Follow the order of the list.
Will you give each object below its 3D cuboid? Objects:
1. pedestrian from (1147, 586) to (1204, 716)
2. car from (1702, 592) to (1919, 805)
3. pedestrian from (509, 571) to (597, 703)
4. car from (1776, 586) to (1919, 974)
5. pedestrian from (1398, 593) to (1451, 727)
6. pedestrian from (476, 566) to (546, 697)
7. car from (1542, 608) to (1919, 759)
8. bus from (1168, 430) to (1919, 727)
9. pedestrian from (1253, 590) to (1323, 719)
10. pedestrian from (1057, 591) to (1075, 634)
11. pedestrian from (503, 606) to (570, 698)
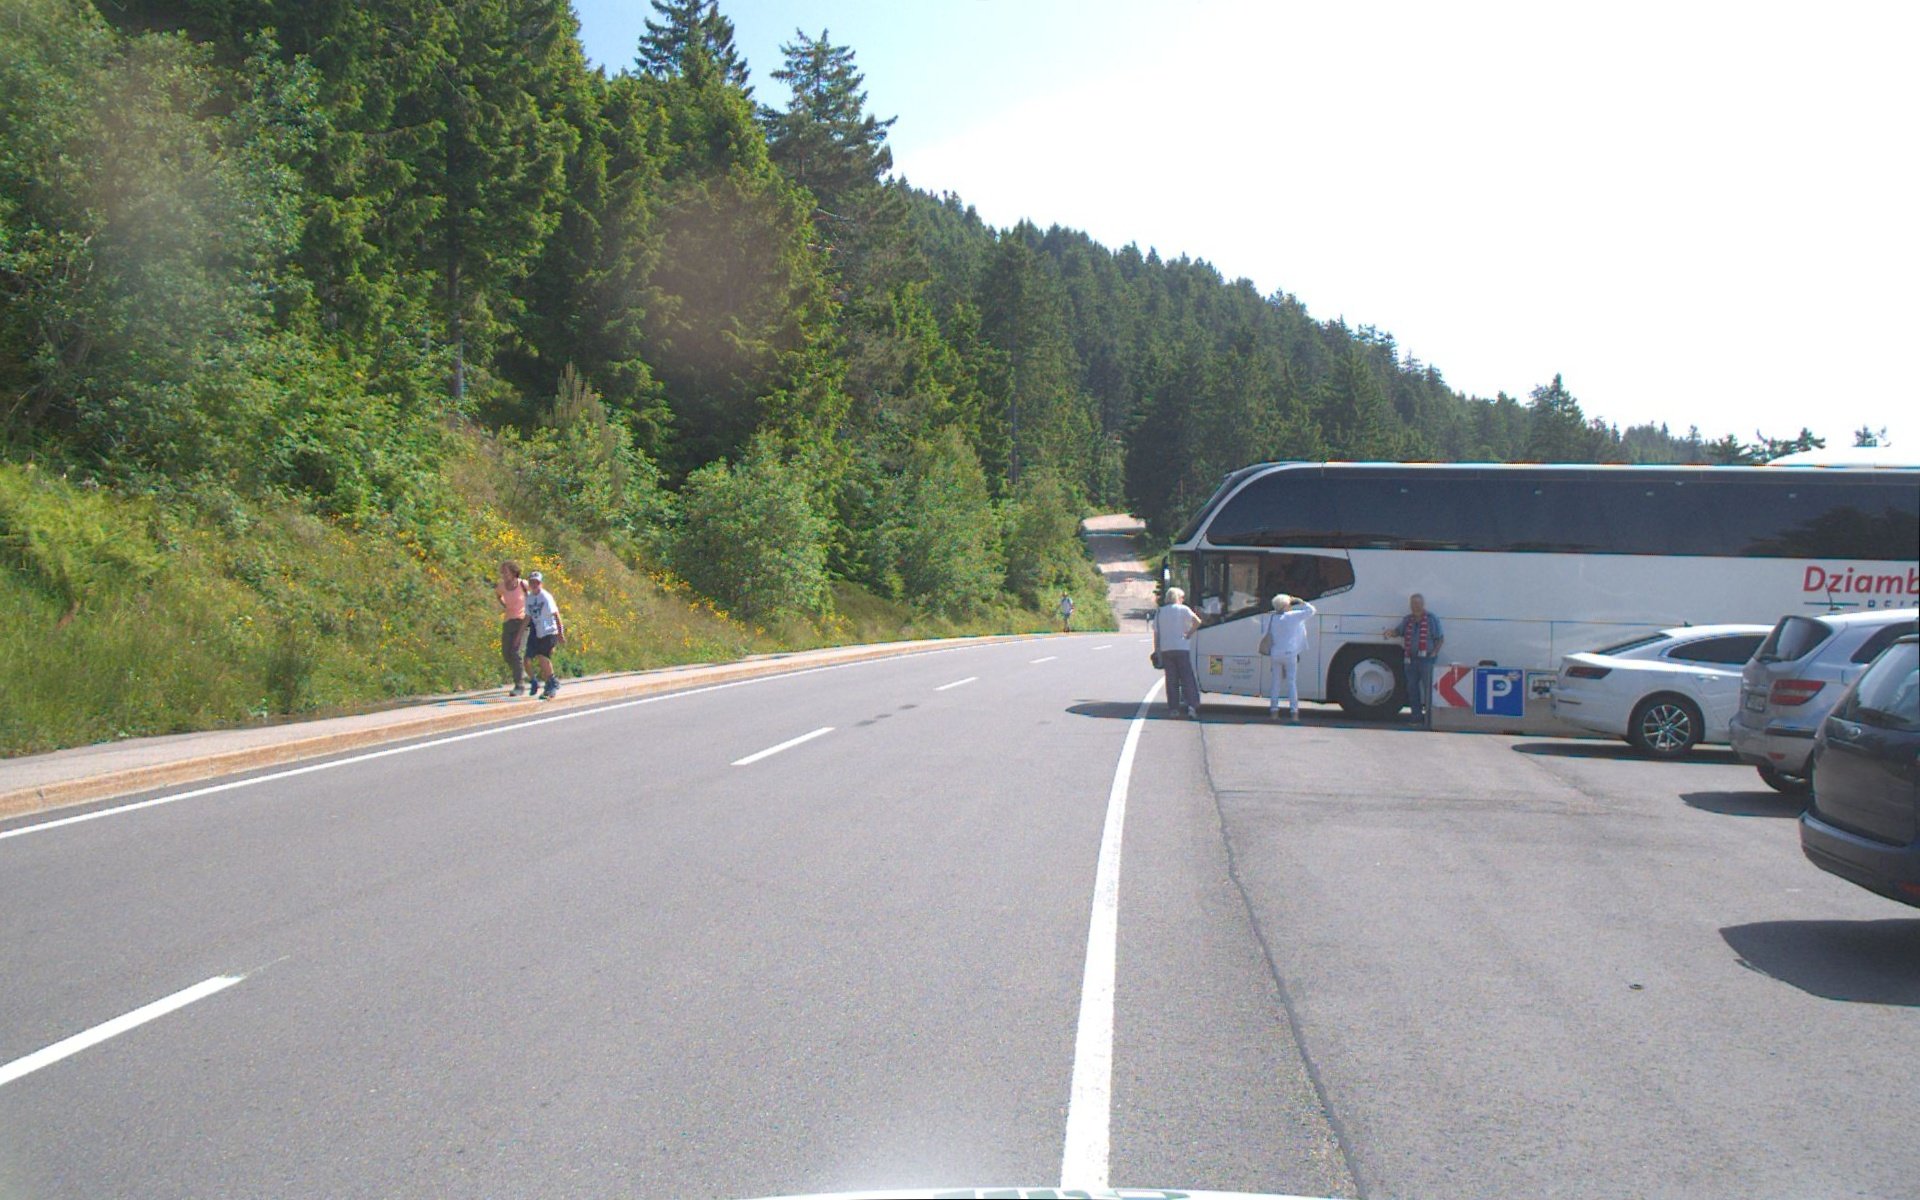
[{"bbox_3d":[2.823,0.651,21.711,0.692,1.671,0.745,0,0,4],"label":"pedestrian"},{"bbox_3d":[8.336,0.795,13.405,3.902,1.601,1.768,2,0,11],"label":"car"},{"bbox_3d":[-4.941,0.435,20.080,0.872,1.564,0.573,0,0,-41],"label":"pedestrian"},{"bbox_3d":[5.971,0.769,7.160,4.042,1.571,1.674,1,1,11],"label":"car"},{"bbox_3d":[5.951,0.753,21.214,0.630,1.671,0.745,0,0,14],"label":"pedestrian"},{"bbox_3d":[-5.841,0.396,21.531,0.564,1.671,0.895,0,0,8],"label":"pedestrian"},{"bbox_3d":[8.690,0.867,17.949,4.330,1.420,1.719,2,0,16],"label":"car"},{"bbox_3d":[9.282,-0.304,22.373,12.572,3.640,2.841,1,0,13],"label":"bus"},{"bbox_3d":[4.232,0.679,21.335,0.634,1.623,0.741,0,0,38],"label":"pedestrian"},{"bbox_3d":[4.422,0.517,68.730,0.668,1.777,0.826,1,0,6],"label":"pedestrian"},{"bbox_3d":[-5.315,0.643,20.786,0.556,1.121,0.745,0,0,8],"label":"pedestrian"}]
